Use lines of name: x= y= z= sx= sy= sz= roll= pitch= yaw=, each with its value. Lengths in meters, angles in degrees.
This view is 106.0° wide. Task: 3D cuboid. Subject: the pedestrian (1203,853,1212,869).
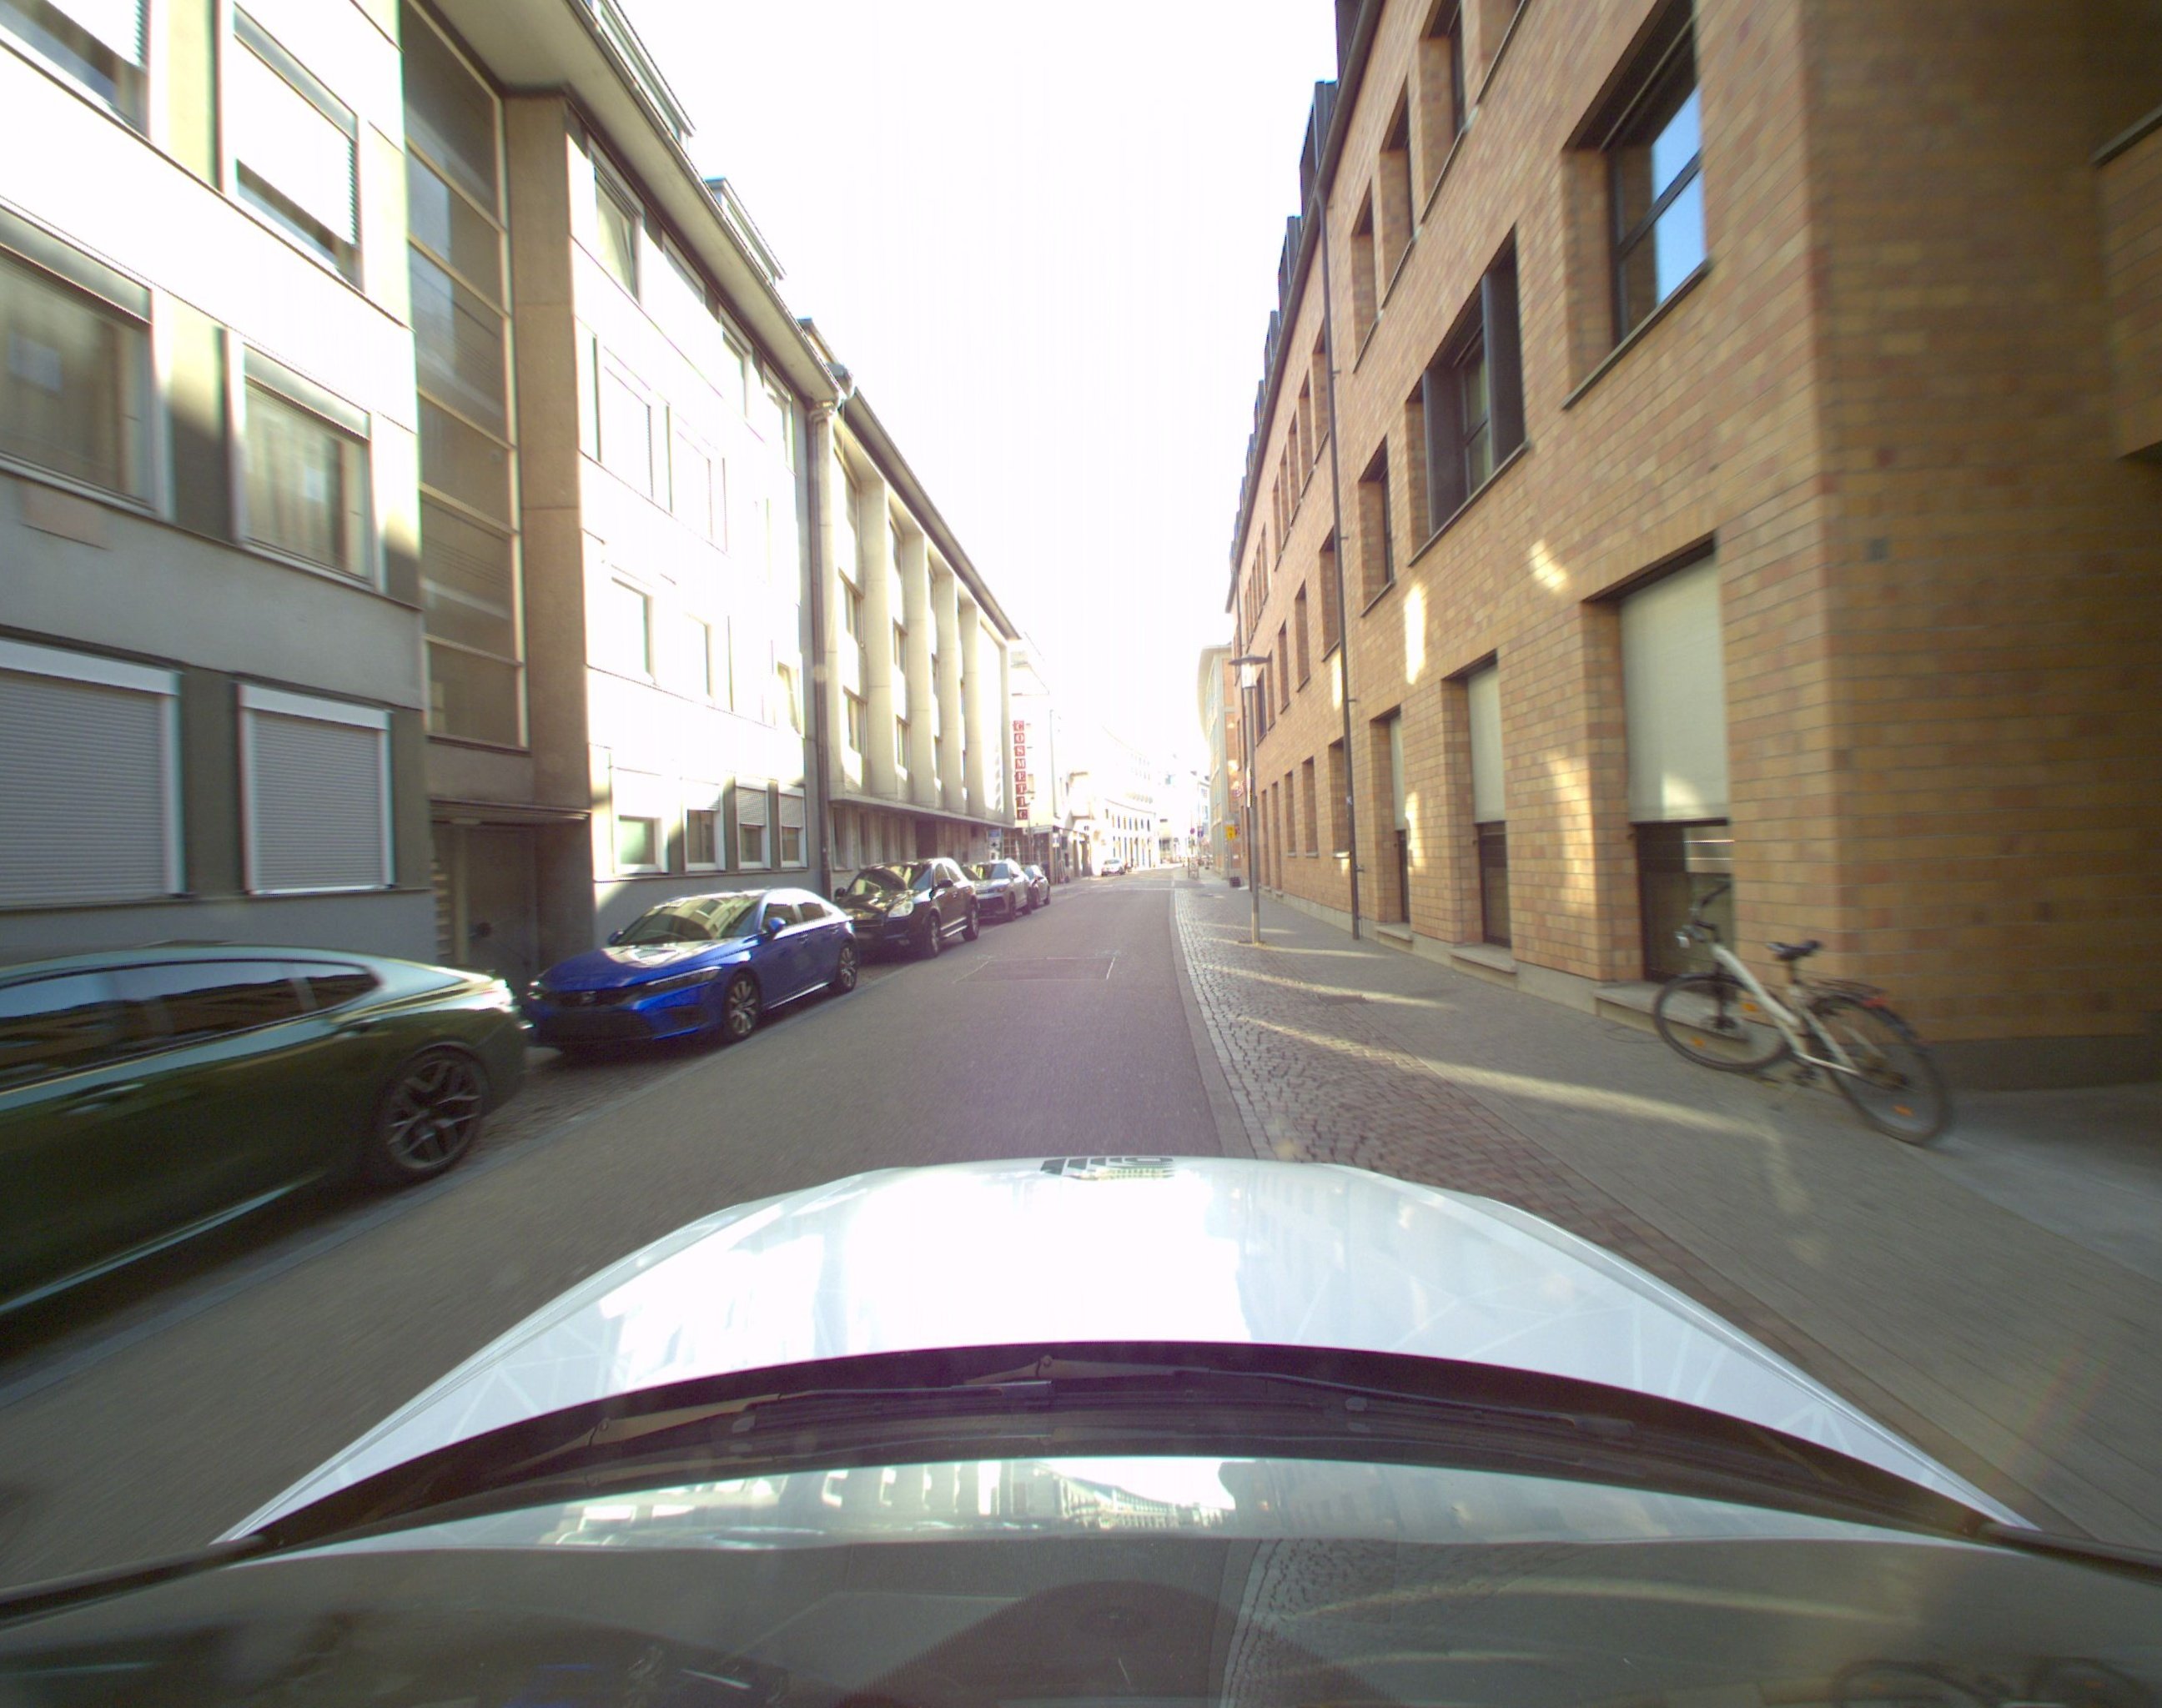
pedestrian: x=14.768 y=0.768 z=94.950 sx=0.662 sy=1.869 sz=0.755 roll=0 pitch=-1 yaw=-24

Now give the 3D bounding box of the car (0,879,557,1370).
car: x=-4.558 y=1.009 z=2.971 sx=1.881 sy=1.530 sz=4.734 roll=-4 pitch=0 yaw=4

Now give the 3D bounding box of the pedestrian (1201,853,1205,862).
pedestrian: x=21.169 y=0.589 z=141.336 sx=0.500 sy=1.419 sz=0.618 roll=-1 pitch=0 yaw=-20

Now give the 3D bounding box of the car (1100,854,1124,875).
car: x=2.600 y=0.856 z=67.883 sx=1.727 sy=1.606 sz=3.539 roll=-1 pitch=0 yaw=7

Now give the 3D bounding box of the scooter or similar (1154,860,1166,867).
scooter or similar: x=10.698 y=1.247 z=110.360 sx=0.520 sy=0.928 sz=2.242 roll=-2 pitch=0 yaw=36

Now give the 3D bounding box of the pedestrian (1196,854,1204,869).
pedestrian: x=14.584 y=0.943 z=100.046 sx=0.662 sy=1.869 sz=0.780 roll=0 pitch=-1 yaw=-24

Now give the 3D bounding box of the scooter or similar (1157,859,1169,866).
scooter or similar: x=11.439 y=1.244 z=113.403 sx=0.520 sy=0.928 sz=2.242 roll=-2 pitch=0 yaw=36

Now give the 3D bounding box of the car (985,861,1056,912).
car: x=-2.012 y=1.071 z=28.250 sx=1.640 sy=1.460 sz=4.006 roll=-5 pitch=-1 yaw=6

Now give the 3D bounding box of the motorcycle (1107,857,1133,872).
motorcycle: x=3.826 y=1.036 z=79.139 sx=2.378 sy=1.317 sz=0.863 roll=-3 pitch=-1 yaw=6

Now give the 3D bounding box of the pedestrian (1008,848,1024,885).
pedestrian: x=-3.080 y=0.581 z=38.615 sx=0.443 sy=1.738 sz=0.556 roll=-2 pitch=-1 yaw=29

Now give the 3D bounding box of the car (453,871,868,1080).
car: x=-4.021 y=1.044 z=8.813 sx=1.881 sy=1.530 sz=4.346 roll=-3 pitch=0 yaw=5

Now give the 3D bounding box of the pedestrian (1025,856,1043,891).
pedestrian: x=-2.204 y=0.917 z=38.044 sx=0.649 sy=1.625 sz=0.452 roll=-2 pitch=-1 yaw=-36

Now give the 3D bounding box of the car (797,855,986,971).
car: x=-3.204 y=0.920 z=14.837 sx=1.880 sy=1.675 sz=4.561 roll=-3 pitch=0 yaw=6

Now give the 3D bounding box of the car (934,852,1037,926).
car: x=-2.498 y=0.874 z=22.409 sx=1.881 sy=1.742 sz=4.396 roll=-3 pitch=0 yaw=5

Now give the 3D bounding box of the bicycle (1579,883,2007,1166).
bicycle: x=3.679 y=0.770 z=4.506 sx=0.548 sy=1.103 sz=1.982 roll=-5 pitch=0 yaw=0

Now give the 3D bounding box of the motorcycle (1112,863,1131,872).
motorcycle: x=3.736 y=1.230 z=75.191 sx=1.680 sy=0.859 sz=0.596 roll=-1 pitch=-1 yaw=11

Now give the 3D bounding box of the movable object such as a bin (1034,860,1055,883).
movable object such as a bin: x=-2.301 y=1.100 z=51.142 sx=0.939 sy=1.420 sz=0.874 roll=1 pitch=-1 yaw=-41
